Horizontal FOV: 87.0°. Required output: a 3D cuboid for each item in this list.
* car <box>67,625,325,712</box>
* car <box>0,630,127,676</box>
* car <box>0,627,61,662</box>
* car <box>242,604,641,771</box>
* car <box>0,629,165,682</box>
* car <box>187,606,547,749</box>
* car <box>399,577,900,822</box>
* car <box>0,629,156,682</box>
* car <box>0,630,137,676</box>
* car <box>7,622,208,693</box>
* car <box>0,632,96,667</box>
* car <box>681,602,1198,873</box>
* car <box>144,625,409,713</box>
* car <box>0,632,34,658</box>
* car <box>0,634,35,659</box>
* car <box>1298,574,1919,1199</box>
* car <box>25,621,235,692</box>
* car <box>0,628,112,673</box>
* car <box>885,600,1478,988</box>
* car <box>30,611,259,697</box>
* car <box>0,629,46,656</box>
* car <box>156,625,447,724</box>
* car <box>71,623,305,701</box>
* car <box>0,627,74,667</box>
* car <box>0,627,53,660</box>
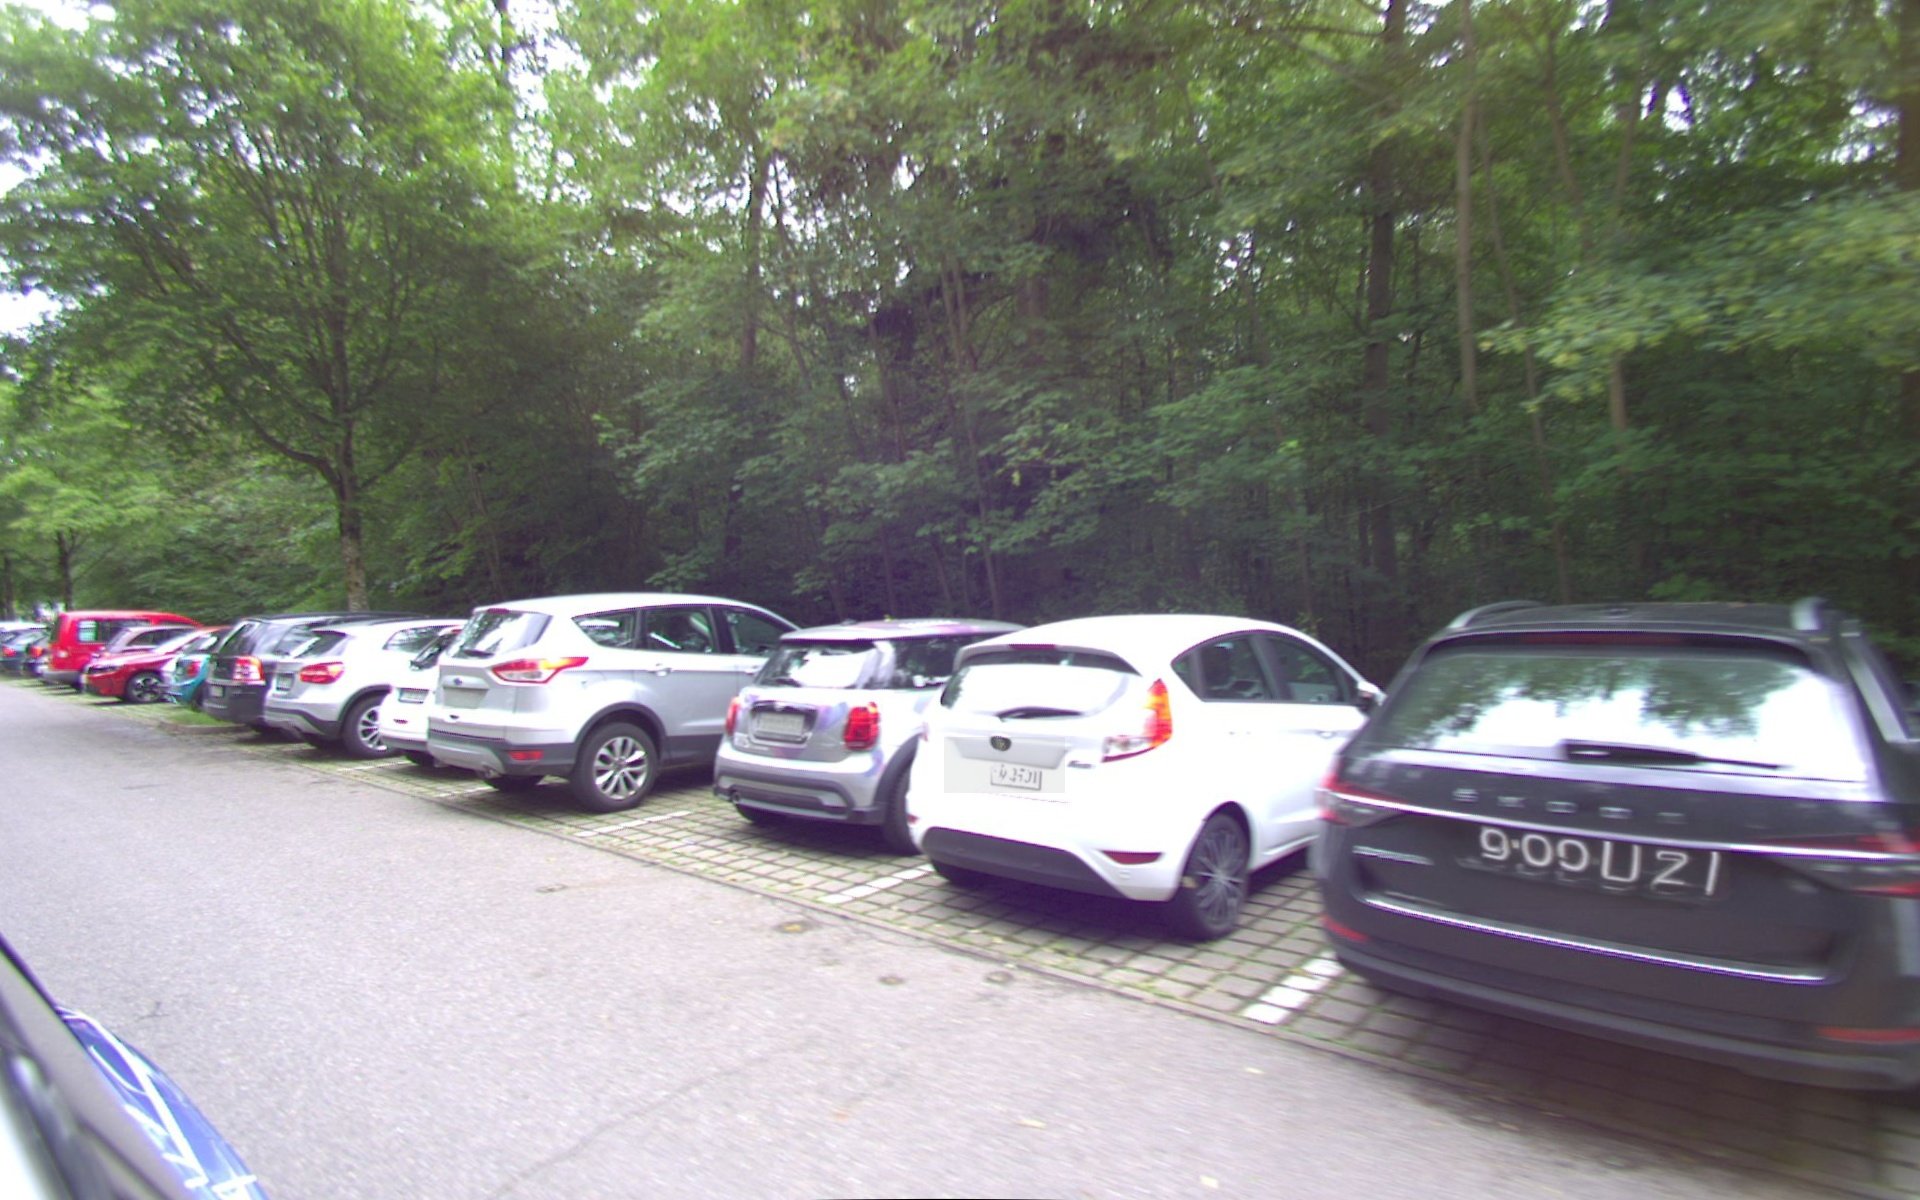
[{"bbox_3d":[-15.439,1.311,20.604,1.770,1.527,3.945,-2,-1,41],"label":"car"},{"bbox_3d":[-33.770,1.931,37.562,1.817,1.549,4.167,-2,-1,41],"label":"car"},{"bbox_3d":[-48.433,2.280,51.377,1.711,1.722,3.949,-2,-2,38],"label":"car"},{"bbox_3d":[-6.134,0.918,12.307,1.814,1.675,3.945,-2,-2,42],"label":"car"},{"bbox_3d":[-26.685,1.641,30.633,1.742,1.432,3.942,-2,-1,44],"label":"car"},{"bbox_3d":[-7.989,0.945,13.933,1.694,1.675,3.947,-2,-2,39],"label":"car"},{"bbox_3d":[-2.552,0.702,9.056,1.813,1.675,3.947,-2,-1,39],"label":"car"},{"bbox_3d":[-28.341,1.721,32.278,1.739,1.453,3.948,-2,0,38],"label":"car"},{"bbox_3d":[-31.909,1.855,35.811,1.819,1.467,4.163,-2,-1,45],"label":"car"},{"bbox_3d":[-22.776,1.473,27.138,1.741,1.609,3.943,-2,0,43],"label":"car"},{"bbox_3d":[-40.836,2.181,44.540,1.710,1.381,3.951,-2,0,36],"label":"car"},{"bbox_3d":[0.083,0.796,7.770,1.813,1.432,3.947,-2,0,40],"label":"car"},{"bbox_3d":[-13.141,1.255,19.627,1.770,1.459,3.945,-2,-1,41],"label":"car"},{"bbox_3d":[-58.791,2.778,61.176,1.711,1.489,3.949,-2,0,38],"label":"car"},{"bbox_3d":[-57.452,2.767,59.787,1.711,1.489,3.949,-2,-2,38],"label":"car"},{"bbox_3d":[3.013,0.648,4.007,1.677,1.446,3.944,-2,0,43],"label":"car"},{"bbox_3d":[-21.012,1.373,25.723,1.741,1.609,3.943,-2,-1,43],"label":"car"},{"bbox_3d":[-35.599,1.948,39.166,1.710,1.528,3.952,-2,0,36],"label":"car"},{"bbox_3d":[1.563,0.755,5.940,1.648,1.446,3.944,0,1,43],"label":"car"},{"bbox_3d":[-19.114,1.200,23.844,1.817,1.828,3.946,-2,-1,41],"label":"car"},{"bbox_3d":[-55.614,2.455,58.445,1.711,1.489,3.949,-2,-2,38],"label":"car"},{"bbox_3d":[-11.215,1.183,17.427,1.696,1.459,3.942,-2,-2,44],"label":"car"},{"bbox_3d":[-17.342,1.326,22.857,1.817,1.527,3.945,-2,-1,41],"label":"car"},{"bbox_3d":[-43.026,2.132,45.961,1.711,1.740,3.949,-2,-2,38],"label":"car"},{"bbox_3d":[-51.955,2.415,54.823,1.711,1.683,3.949,-2,0,38],"label":"car"}]
